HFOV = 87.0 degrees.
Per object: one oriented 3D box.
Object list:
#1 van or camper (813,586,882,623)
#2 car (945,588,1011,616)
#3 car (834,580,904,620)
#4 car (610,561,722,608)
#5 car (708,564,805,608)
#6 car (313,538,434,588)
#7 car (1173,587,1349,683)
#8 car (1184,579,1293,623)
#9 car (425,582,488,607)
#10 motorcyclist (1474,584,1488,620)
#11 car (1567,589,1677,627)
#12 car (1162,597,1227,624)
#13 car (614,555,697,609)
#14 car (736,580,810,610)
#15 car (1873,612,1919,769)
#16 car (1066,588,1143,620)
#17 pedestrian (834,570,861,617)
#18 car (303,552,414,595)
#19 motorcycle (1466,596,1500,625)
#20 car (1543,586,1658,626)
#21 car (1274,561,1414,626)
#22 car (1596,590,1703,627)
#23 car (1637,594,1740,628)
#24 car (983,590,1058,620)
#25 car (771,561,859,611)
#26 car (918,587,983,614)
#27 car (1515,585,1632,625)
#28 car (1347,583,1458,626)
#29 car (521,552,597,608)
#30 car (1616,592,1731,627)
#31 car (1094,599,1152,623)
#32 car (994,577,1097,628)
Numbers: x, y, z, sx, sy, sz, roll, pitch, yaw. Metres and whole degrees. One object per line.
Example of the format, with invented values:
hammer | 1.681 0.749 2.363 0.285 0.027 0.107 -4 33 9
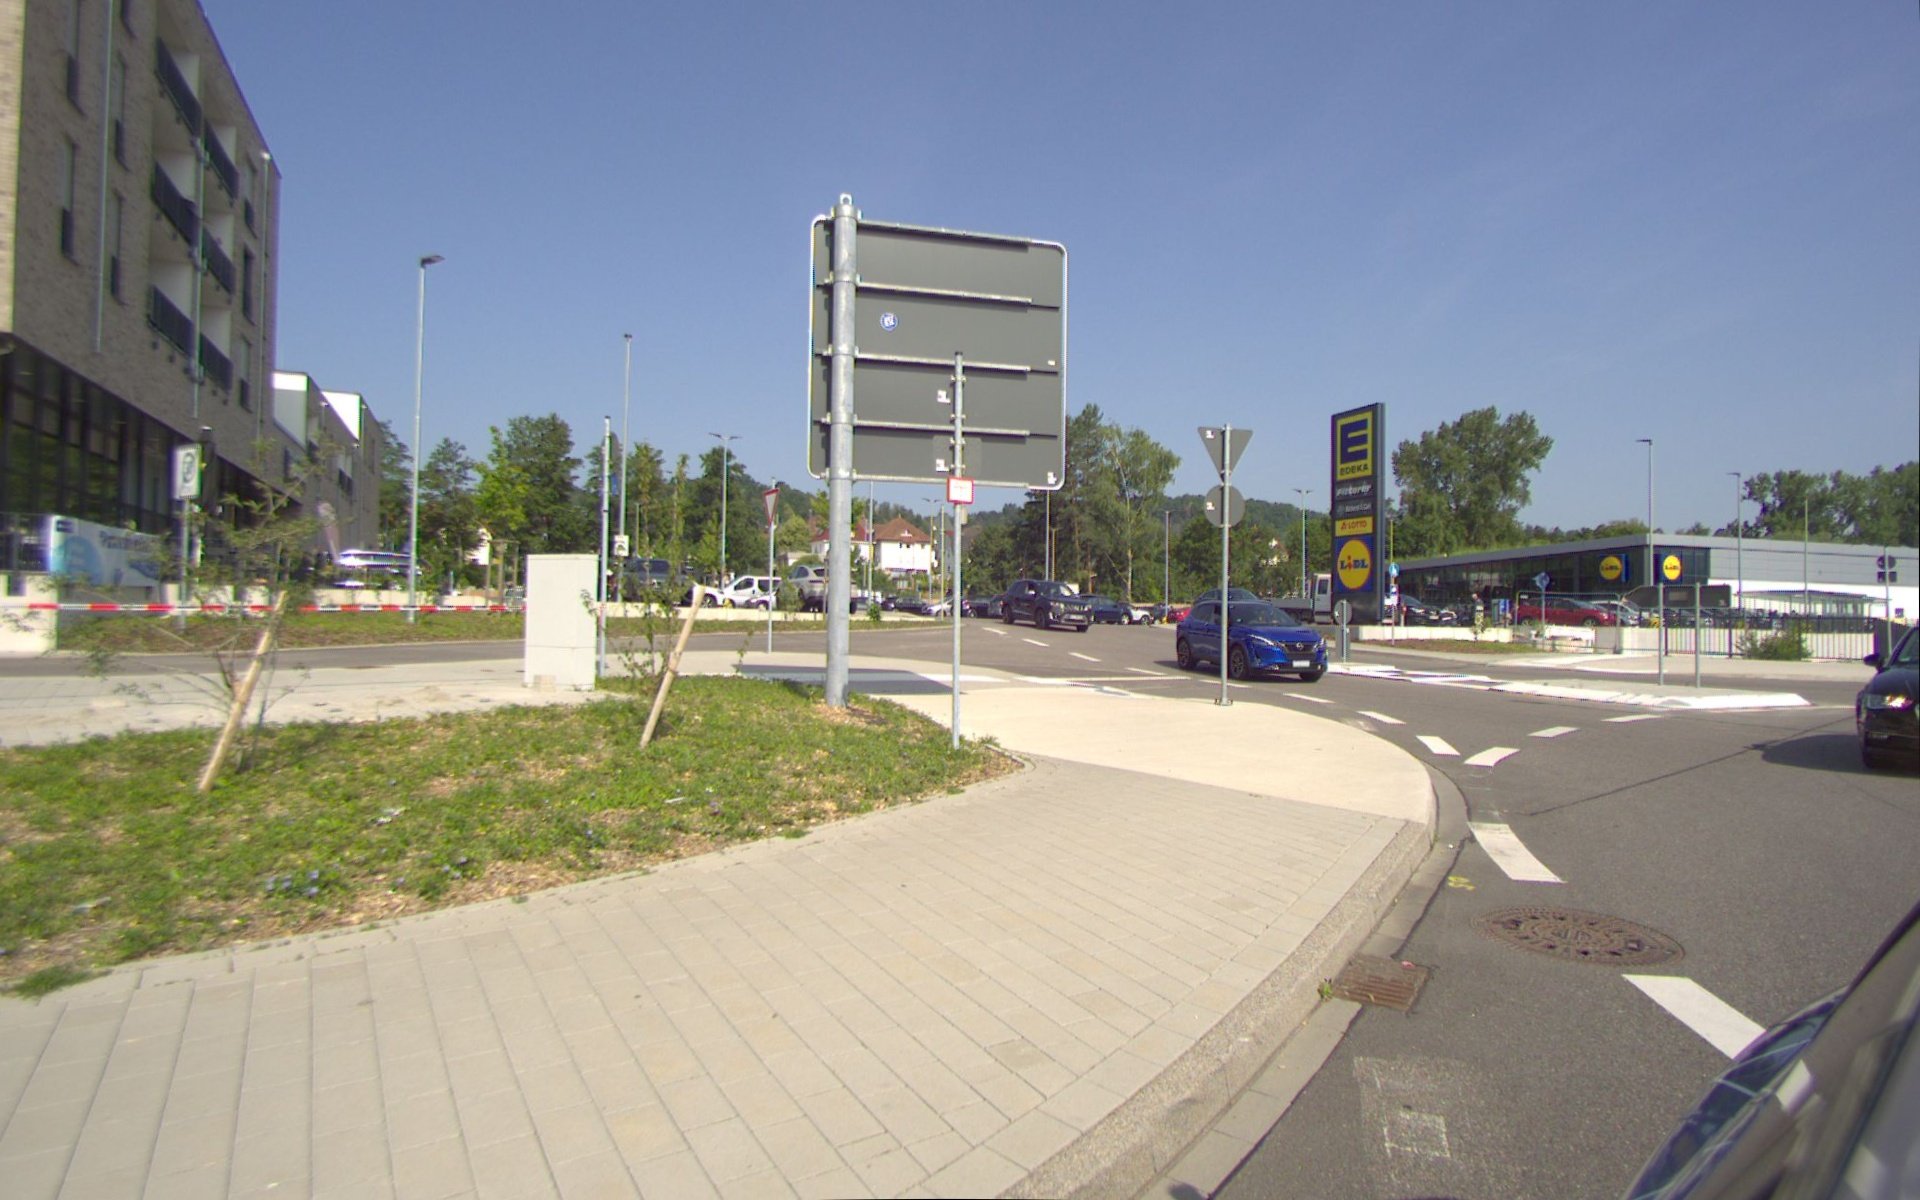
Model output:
van or camper | -9.200 0.415 83.017 5.176 2.885 2.298 1 -4 -24
car | 0.980 0.144 54.881 3.299 1.392 1.526 2 -3 -32
car | -6.492 0.026 71.995 4.550 2.652 2.002 1 -4 -24
car | -13.106 -0.662 45.129 4.484 1.904 2.003 1 -2 -25
car | -10.526 -0.675 52.455 4.558 2.040 1.999 2 -4 -35
car | -18.848 -1.161 32.584 3.266 1.369 1.491 2 -4 -31
car | 6.309 0.643 21.822 1.848 1.683 4.363 0 3 -10
car | 11.303 0.099 41.520 1.882 1.550 4.868 1 -3 -19
car | -31.185 -0.318 62.693 3.267 1.369 1.627 2 -4 -33
motorcyclist | 23.176 0.111 44.998 0.510 1.563 0.576 -2 -4 29
car | 31.143 0.409 47.686 1.674 1.595 3.992 3 -4 -40
car | 14.990 0.680 64.799 3.708 1.595 1.765 1 -4 -23
car | -10.167 -0.613 33.546 1.819 1.575 4.468 4 0 -27
car | -9.283 -0.222 50.260 3.267 1.368 1.628 0 -3 -32
car | 10.155 0.759 9.478 4.148 1.339 1.720 0 -2 -39
car | 7.789 0.253 54.421 3.708 1.595 1.765 1 -4 -23
pedestrian | -4.362 -0.236 39.189 0.748 1.764 0.874 -2 -4 21
car | -21.735 -0.931 36.686 3.263 1.369 1.493 1 -4 -23
motorcycle | 22.967 0.464 44.473 0.580 1.207 1.901 1 -3 3
car | 28.966 0.322 45.845 1.746 1.595 4.017 2 -4 -38
car | 16.298 -0.187 43.441 2.017 2.415 6.101 1 -3 -21
car | 33.523 0.442 49.268 1.674 1.595 3.992 3 -4 -40
car | 37.647 0.589 52.392 1.674 1.595 3.992 3 -4 -40
car | 3.135 0.271 52.618 3.555 1.464 1.528 1 -4 -22
car | -5.293 -0.514 36.363 1.819 1.575 4.831 4 0 -24
car | -0.571 0.061 60.126 3.555 1.464 1.528 1 -4 -22
car | 26.997 0.265 44.604 1.746 1.595 4.017 2 -4 -38
car | 19.126 0.256 43.966 1.794 1.623 4.483 1 -3 -20
car | -12.991 -0.660 32.637 1.819 1.575 4.468 4 0 -27
car | 35.708 0.512 50.772 1.674 1.595 4.408 3 -4 -40
car | 11.672 0.779 72.278 3.708 1.595 1.765 1 -4 -23
car | 2.779 0.028 33.904 1.609 1.409 4.240 1 3 -23
